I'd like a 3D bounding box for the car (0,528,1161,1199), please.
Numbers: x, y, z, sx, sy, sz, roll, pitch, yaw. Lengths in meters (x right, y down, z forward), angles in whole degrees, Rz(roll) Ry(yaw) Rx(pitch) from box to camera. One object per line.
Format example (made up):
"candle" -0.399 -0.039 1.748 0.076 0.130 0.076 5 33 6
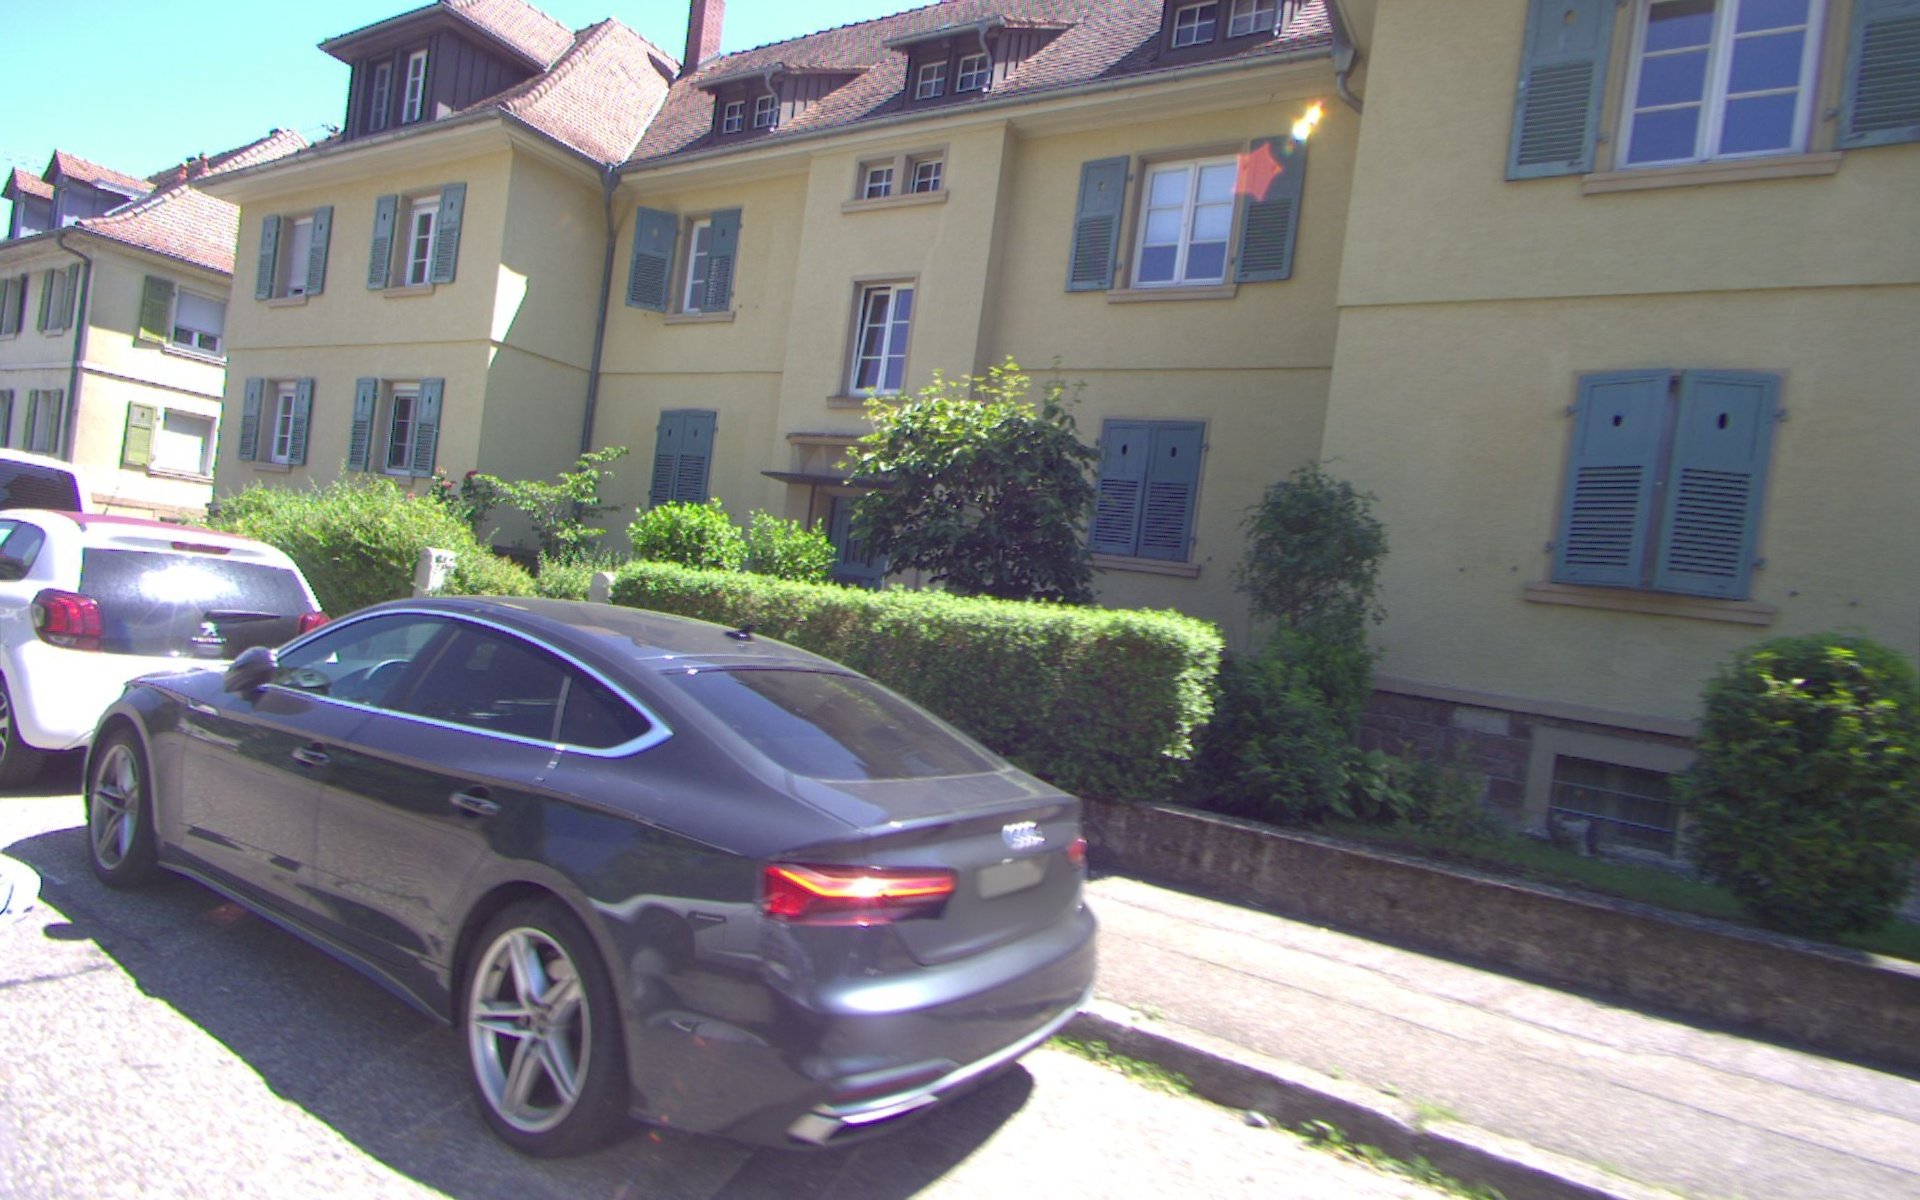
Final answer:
"car" -1.742 0.686 3.961 4.530 1.387 1.764 7 -1 31

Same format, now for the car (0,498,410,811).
"car" -5.517 0.177 6.500 3.587 1.468 1.764 7 -1 31

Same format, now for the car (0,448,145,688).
"car" -9.949 -0.514 9.394 4.743 1.922 1.999 7 -3 32
